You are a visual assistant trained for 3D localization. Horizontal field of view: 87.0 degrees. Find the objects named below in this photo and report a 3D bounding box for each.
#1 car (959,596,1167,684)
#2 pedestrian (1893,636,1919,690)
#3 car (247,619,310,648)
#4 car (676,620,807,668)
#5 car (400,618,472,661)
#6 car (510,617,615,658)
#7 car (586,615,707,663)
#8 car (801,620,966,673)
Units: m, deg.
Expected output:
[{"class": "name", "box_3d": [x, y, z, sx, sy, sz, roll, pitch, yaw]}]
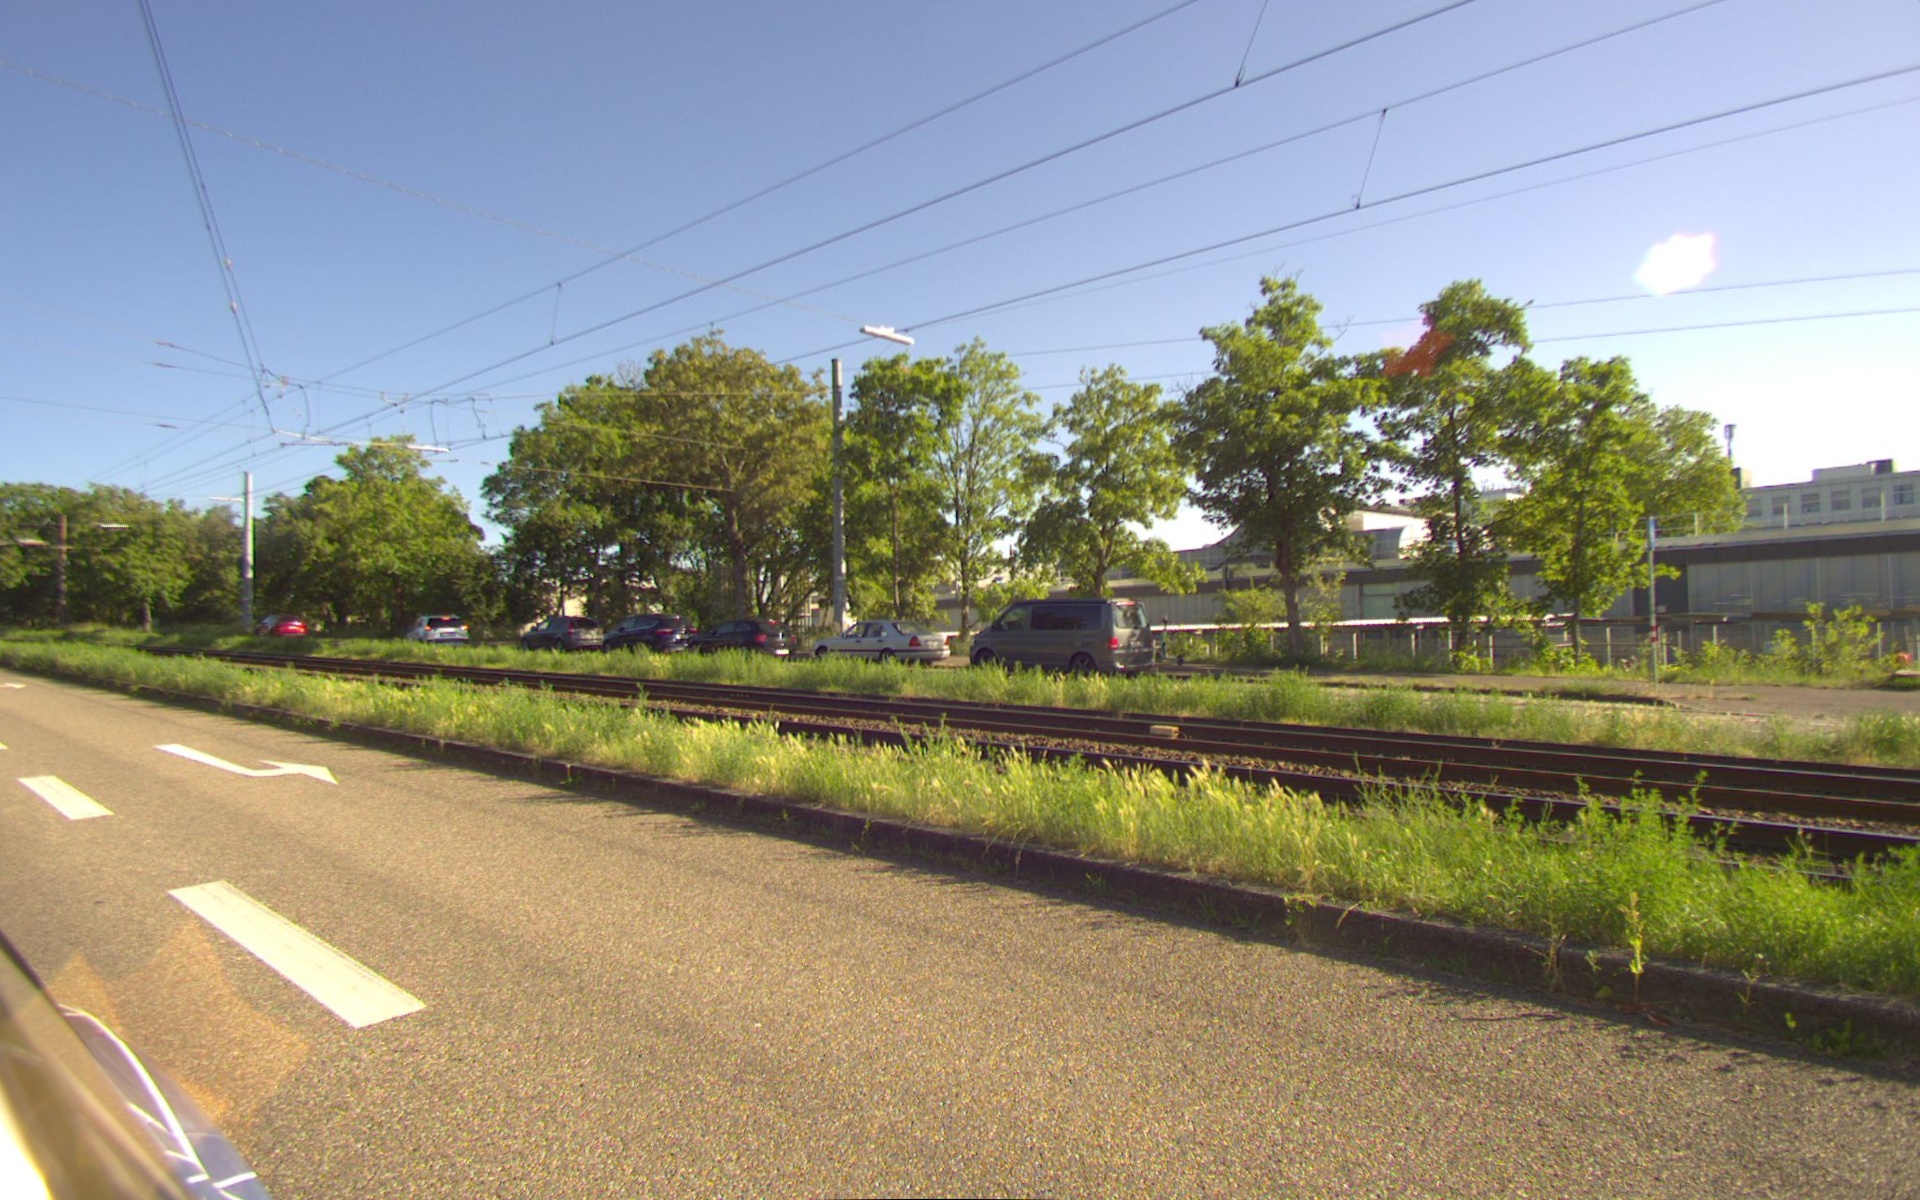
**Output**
[{"class": "car", "box_3d": [2.455, 0.954, 24.798, 4.684, 1.949, 2.178, -2, -1, 42]}, {"class": "pedestrian", "box_3d": [23.534, 1.542, 25.026, 0.435, 1.310, 0.441, -1, -2, -1]}, {"class": "car", "box_3d": [-42.456, 2.084, 63.003, 4.797, 1.746, 2.290, -2, -1, 43]}, {"class": "car", "box_3d": [-7.240, 1.427, 33.244, 4.486, 1.437, 1.935, -2, -1, 42]}, {"class": "car", "box_3d": [-20.591, 1.531, 39.700, 1.831, 1.569, 4.165, 0, -1, -37]}, {"class": "car", "box_3d": [-16.263, 1.525, 41.273, 4.557, 1.575, 2.103, -2, -1, 41]}, {"class": "car", "box_3d": [-11.434, 1.394, 36.796, 4.614, 1.599, 2.102, -2, -1, 41]}, {"class": "car", "box_3d": [-2.263, 1.315, 29.236, 4.612, 1.391, 2.103, -2, -1, 40]}]
